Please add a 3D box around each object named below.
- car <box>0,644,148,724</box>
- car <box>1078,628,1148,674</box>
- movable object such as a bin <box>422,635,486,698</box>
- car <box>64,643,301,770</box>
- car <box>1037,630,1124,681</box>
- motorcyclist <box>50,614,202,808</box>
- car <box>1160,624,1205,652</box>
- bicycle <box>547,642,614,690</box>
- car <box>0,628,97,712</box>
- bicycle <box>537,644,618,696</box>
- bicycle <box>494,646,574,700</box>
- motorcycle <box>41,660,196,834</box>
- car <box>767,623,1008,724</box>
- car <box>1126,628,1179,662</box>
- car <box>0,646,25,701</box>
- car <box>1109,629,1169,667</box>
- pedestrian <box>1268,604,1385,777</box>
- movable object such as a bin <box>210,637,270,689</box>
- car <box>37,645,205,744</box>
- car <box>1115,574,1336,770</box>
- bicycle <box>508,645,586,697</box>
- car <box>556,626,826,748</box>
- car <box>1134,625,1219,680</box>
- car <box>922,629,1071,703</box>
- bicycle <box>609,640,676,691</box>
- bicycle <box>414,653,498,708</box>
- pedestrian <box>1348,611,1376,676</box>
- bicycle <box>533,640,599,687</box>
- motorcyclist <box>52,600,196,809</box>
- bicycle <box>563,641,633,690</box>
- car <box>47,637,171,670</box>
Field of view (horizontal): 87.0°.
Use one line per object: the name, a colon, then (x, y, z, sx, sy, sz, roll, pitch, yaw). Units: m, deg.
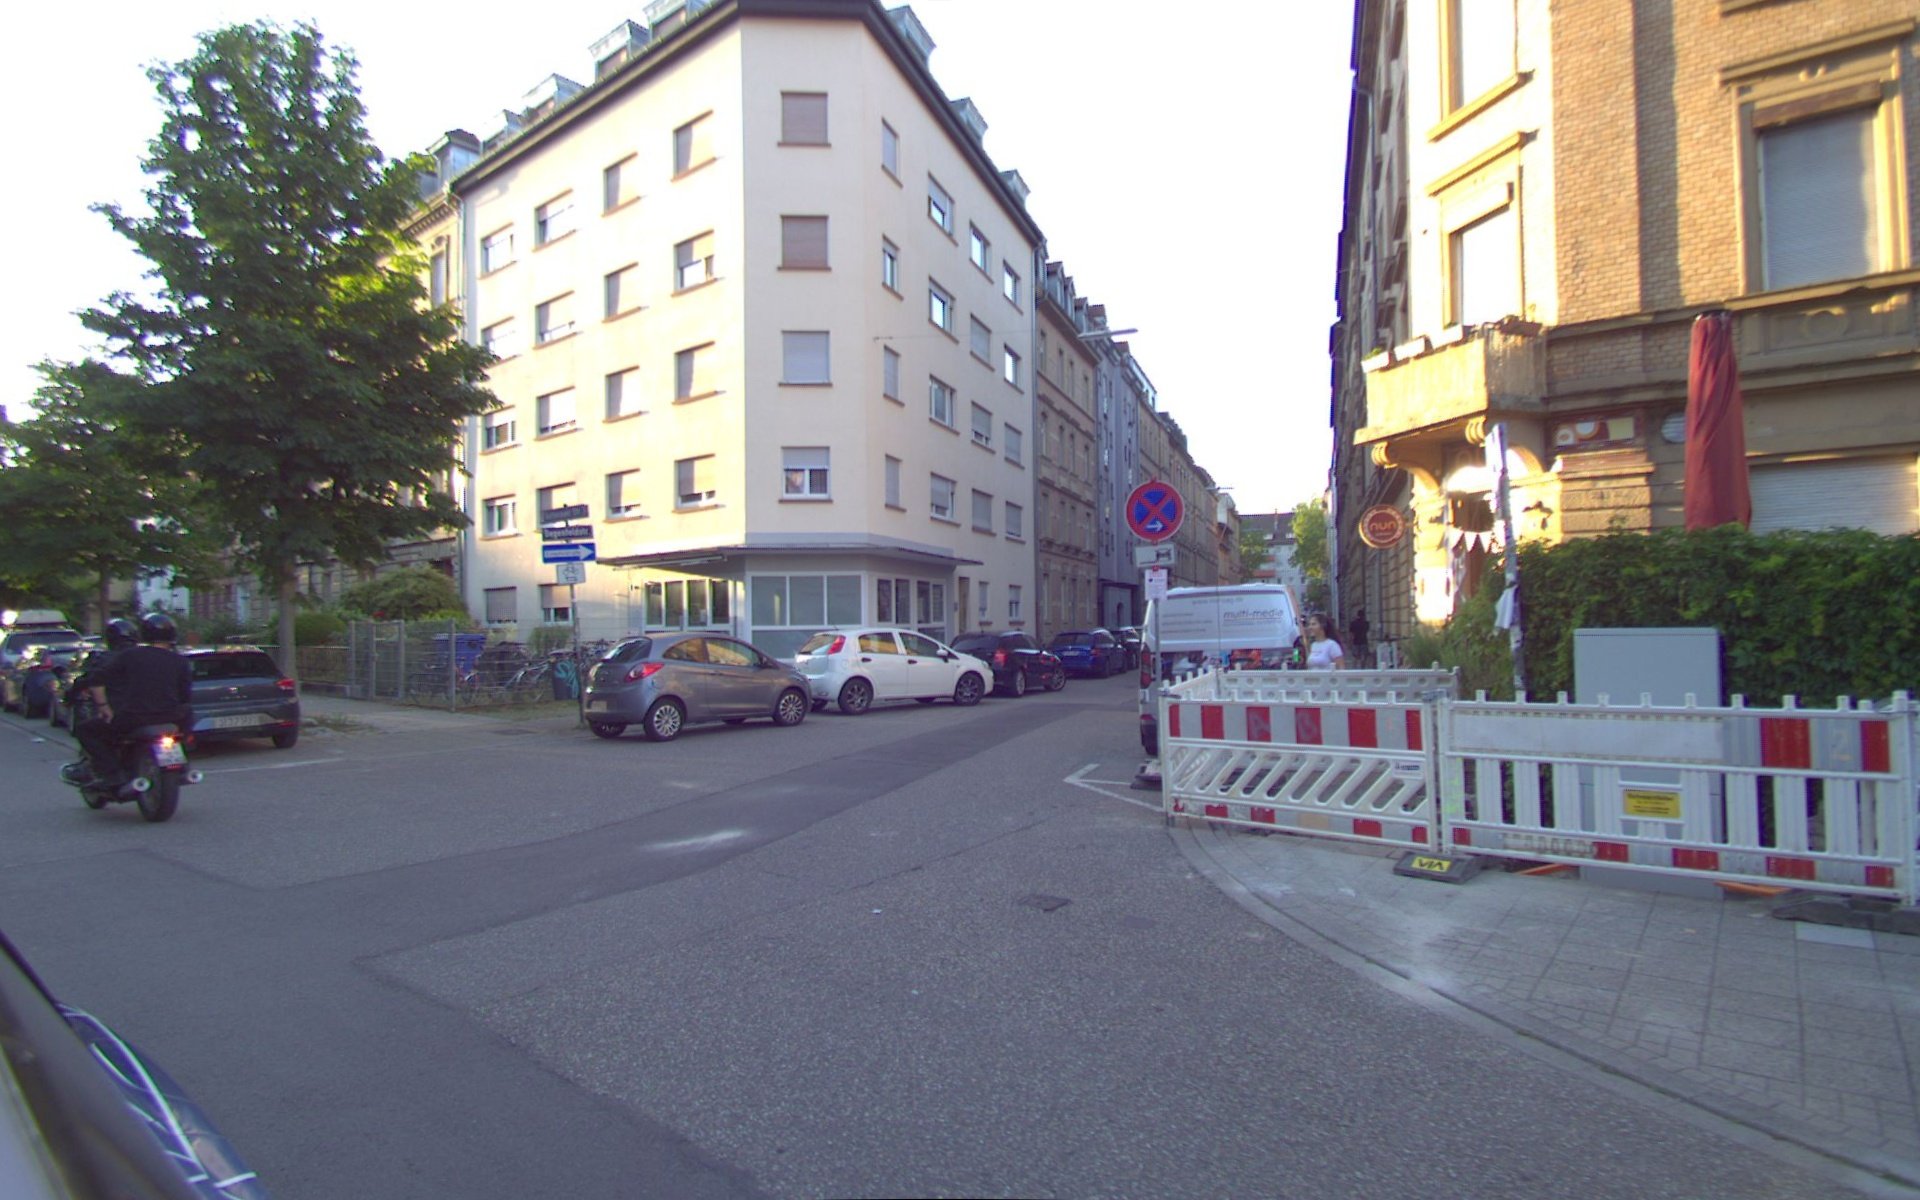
car: (-18.552, 1.650, 20.936, 4.586, 1.423, 1.843, -2, -1, 40)
car: (5.408, 1.744, 35.376, 1.773, 1.478, 3.976, -2, -2, 18)
movable object such as a bin: (-11.736, 1.517, 23.480, 1.398, 1.362, 0.857, -2, -1, 42)
car: (-11.090, 1.376, 14.317, 4.458, 1.473, 1.658, -2, -1, 39)
car: (3.717, 1.648, 30.626, 1.859, 1.419, 3.976, -2, -3, 18)
motorcyclist: (-7.048, 0.904, 8.586, 0.878, 1.516, 0.971, 4, -4, -40)
car: (11.887, 2.014, 53.841, 1.914, 1.419, 3.976, -2, -2, 18)
bicycle: (-9.468, 1.638, 25.303, 0.499, 1.100, 1.531, -2, 0, 34)
car: (-22.294, 1.598, 24.134, 4.619, 1.792, 1.843, -2, -1, 40)
bicycle: (-8.660, 1.577, 22.946, 1.689, 1.100, 0.384, -2, 0, 4)
bicycle: (-9.258, 1.580, 22.014, 1.528, 1.100, 0.500, -2, 0, 3)
motorcycle: (-6.963, 1.133, 8.410, 0.835, 1.218, 2.078, 4, -4, -39)
car: (-1.295, 1.268, 18.792, 4.007, 1.520, 1.978, -2, 0, -38)
car: (8.649, 1.977, 45.272, 1.808, 1.419, 3.976, -2, -2, 18)
car: (-27.360, 2.018, 27.920, 4.019, 1.452, 1.711, -2, -1, 39)
car: (7.186, 1.884, 40.300, 1.808, 1.419, 3.976, -2, -2, 18)
pedestrian: (3.679, 0.873, 10.180, 0.773, 1.630, 0.714, -2, 0, -22)
movable object such as a bin: (-20.484, 1.785, 28.786, 1.549, 1.398, 0.937, -2, -1, 37)
car: (-14.644, 1.537, 17.580, 4.142, 1.431, 1.723, -2, -1, 43)
car: (3.518, 0.823, 13.171, 2.190, 1.990, 5.264, -2, -2, 17)
bicycle: (-9.182, 1.575, 22.529, 1.528, 1.100, 0.500, -2, 0, 3)
car: (-3.938, 1.209, 15.175, 1.843, 1.519, 3.471, -3, -2, 39)
car: (6.618, 1.542, 30.530, 1.808, 1.534, 4.565, -1, -2, 21)
car: (0.923, 1.415, 22.582, 1.986, 1.450, 4.046, -2, -2, 23)
bicycle: (-7.549, 1.546, 24.104, 0.499, 1.100, 1.531, -2, 0, 34)
bicycle: (-10.309, 1.627, 20.687, 1.927, 1.033, 0.681, -2, 0, 35)
pedestrian: (10.642, 1.152, 26.814, 0.589, 1.699, 0.495, -2, 0, 18)
bicycle: (-9.958, 1.589, 25.616, 0.499, 1.100, 1.531, -2, 0, 34)
motorcyclist: (-6.573, 0.801, 7.986, 0.777, 1.552, 0.546, 4, -4, -40)
bicycle: (-8.920, 1.594, 24.990, 0.499, 1.100, 1.617, -2, 0, 34)
car: (-40.647, 2.538, 48.427, 1.625, 1.351, 4.356, -2, -1, 41)
